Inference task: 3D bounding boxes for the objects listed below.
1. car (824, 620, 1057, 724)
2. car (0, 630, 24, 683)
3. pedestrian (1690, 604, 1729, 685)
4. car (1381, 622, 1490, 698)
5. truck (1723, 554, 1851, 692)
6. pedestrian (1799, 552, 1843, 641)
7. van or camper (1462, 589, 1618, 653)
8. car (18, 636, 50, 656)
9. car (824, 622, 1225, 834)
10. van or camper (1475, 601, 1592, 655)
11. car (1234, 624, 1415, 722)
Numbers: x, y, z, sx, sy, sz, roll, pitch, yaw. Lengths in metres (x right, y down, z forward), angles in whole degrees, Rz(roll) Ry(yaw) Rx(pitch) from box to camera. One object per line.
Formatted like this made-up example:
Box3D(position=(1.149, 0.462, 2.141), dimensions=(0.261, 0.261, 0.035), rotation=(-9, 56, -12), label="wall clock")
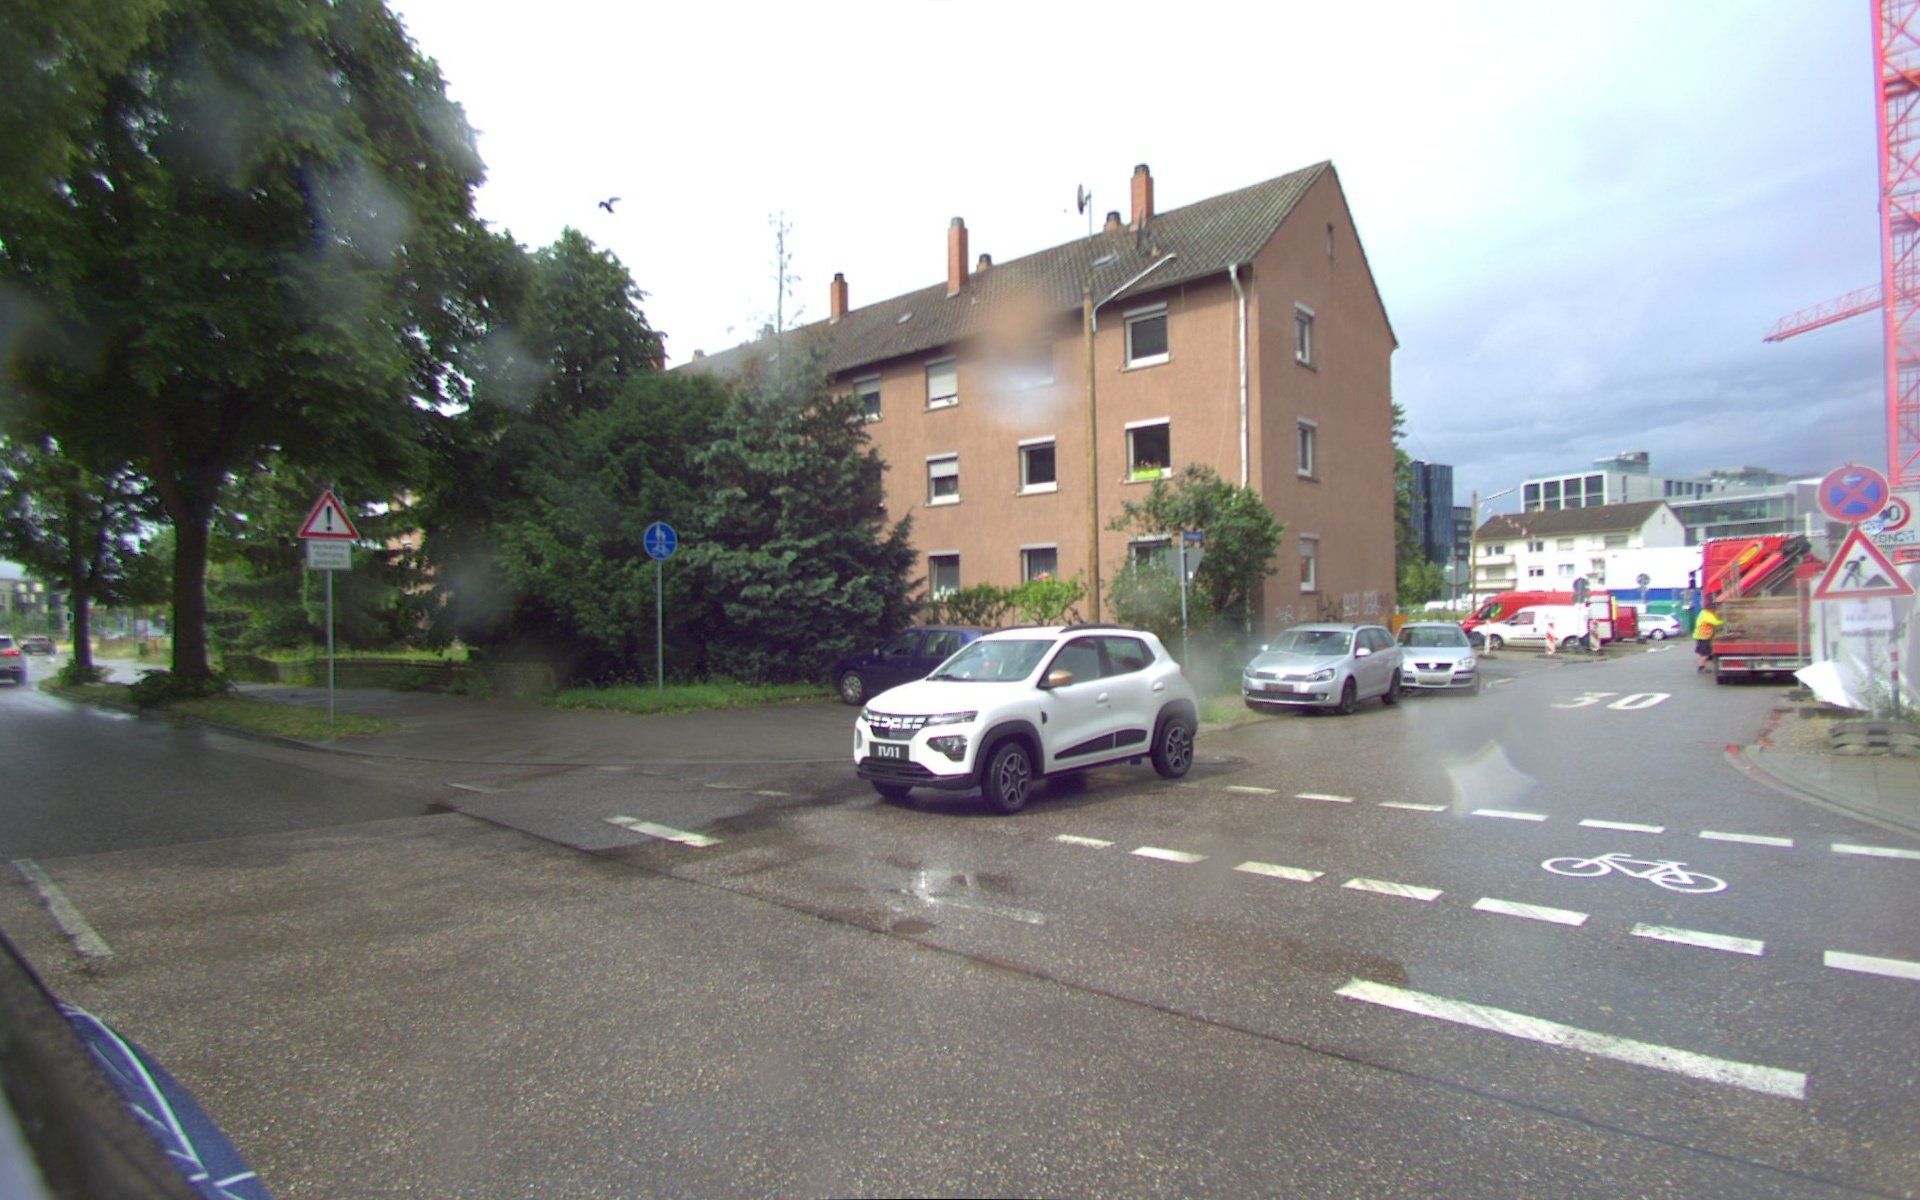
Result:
Box3D(position=(-0.412, 1.106, 16.925), dimensions=(3.870, 1.431, 1.606), rotation=(0, 1, 43), label="car")
Box3D(position=(-32.943, 1.900, 33.962), dimensions=(4.228, 1.727, 1.866), rotation=(-2, -3, 42), label="car")
Box3D(position=(18.908, 1.125, 25.532), dimensions=(0.747, 2.029, 0.427), rotation=(-1, -5, 38), label="pedestrian")
Box3D(position=(10.078, 1.191, 21.283), dimensions=(1.721, 1.424, 4.025), rotation=(-2, -2, 30), label="car")
Box3D(position=(22.089, 0.452, 27.126), dimensions=(2.347, 3.219, 6.927), rotation=(-1, 1, 39), label="truck")
Box3D(position=(20.121, -0.074, 23.656), dimensions=(0.685, 2.029, 0.487), rotation=(-1, -4, 34), label="pedestrian")
Box3D(position=(24.550, 0.922, 42.951), dimensions=(5.570, 2.530, 1.925), rotation=(-1, -4, 36), label="van or camper")
Box3D(position=(-74.249, 3.714, 81.129), dimensions=(3.795, 1.519, 1.661), rotation=(-3, -3, 45), label="car")
Box3D(position=(0.712, 0.997, 9.362), dimensions=(3.562, 1.545, 1.739), rotation=(1, -2, -44), label="car")
Box3D(position=(22.962, 1.124, 40.603), dimensions=(3.987, 2.029, 1.928), rotation=(-1, -4, 32), label="van or camper")
Box3D(position=(6.477, 1.183, 17.736), dimensions=(1.726, 1.484, 4.013), rotation=(-2, -2, 40), label="car")
